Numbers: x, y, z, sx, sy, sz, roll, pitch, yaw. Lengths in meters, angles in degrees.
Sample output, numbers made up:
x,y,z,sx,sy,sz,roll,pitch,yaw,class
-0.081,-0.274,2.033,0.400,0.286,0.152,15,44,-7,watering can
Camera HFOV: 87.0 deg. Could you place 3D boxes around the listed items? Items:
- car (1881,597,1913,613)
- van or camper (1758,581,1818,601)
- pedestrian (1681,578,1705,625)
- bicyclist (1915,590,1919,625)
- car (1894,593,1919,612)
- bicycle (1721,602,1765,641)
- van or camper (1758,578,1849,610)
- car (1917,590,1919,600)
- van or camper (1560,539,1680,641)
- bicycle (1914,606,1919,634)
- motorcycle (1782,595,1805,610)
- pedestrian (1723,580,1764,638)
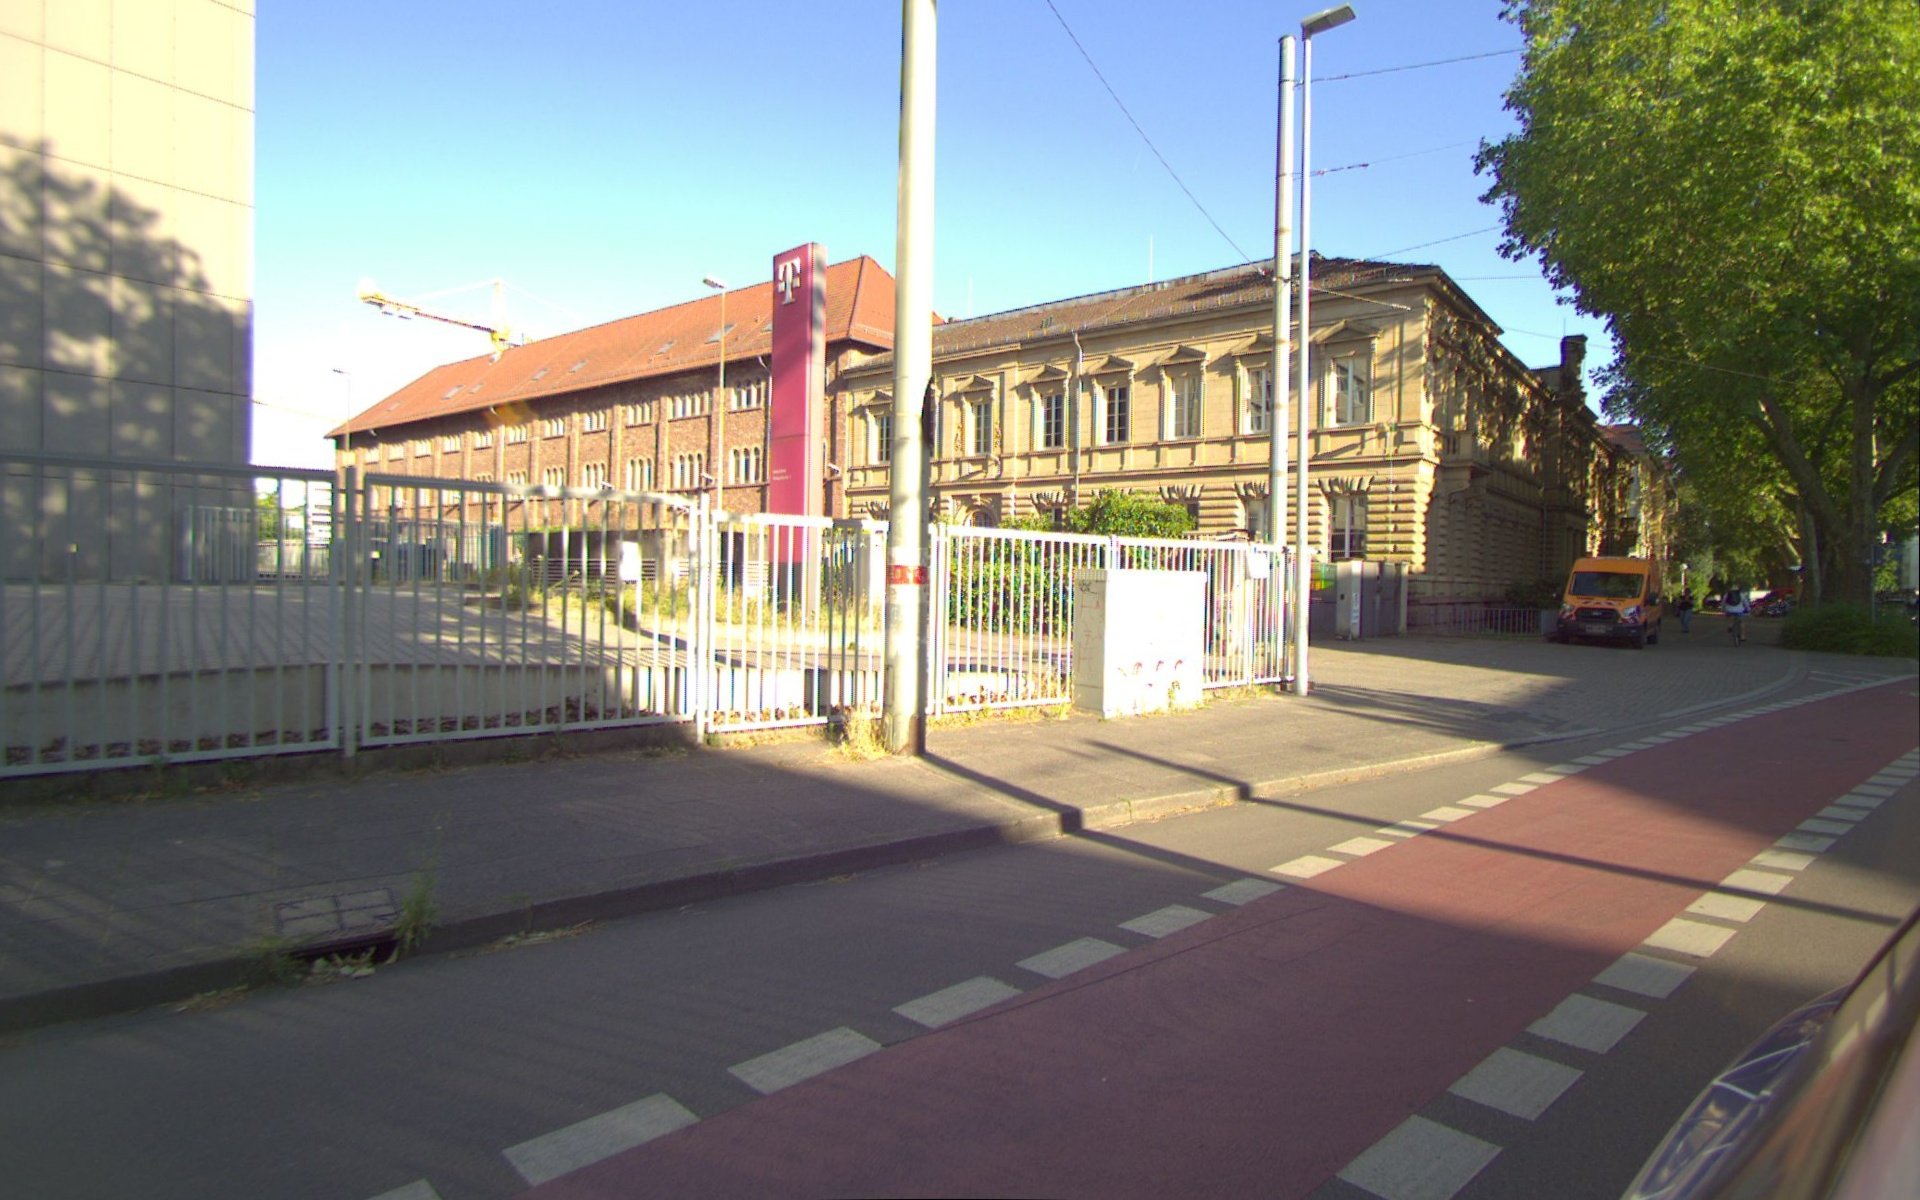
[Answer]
x,y,z,sx,sy,sz,roll,pitch,yaw,class
84.041,0.405,90.792,1.732,1.390,3.865,-1,0,38,car
109.286,-1.194,133.684,6.077,2.461,2.393,2,2,40,van or camper
27.919,0.056,38.546,0.650,1.757,0.993,2,1,40,pedestrian
40.476,0.314,42.270,0.712,1.461,0.940,2,1,39,bicyclist
74.540,0.193,79.284,1.732,1.390,3.865,-1,0,38,car
22.828,0.607,29.495,1.868,1.044,0.676,0,4,-43,bicycle
72.500,-0.572,87.122,5.901,2.527,2.192,2,4,38,van or camper
141.426,-0.749,147.910,1.799,1.563,3.867,-1,0,37,car
18.641,-0.302,28.454,2.034,2.591,5.687,2,2,41,van or camper
40.445,0.842,42.263,0.712,1.151,2.090,2,2,39,bicycle
59.335,0.166,72.021,1.248,1.067,0.395,1,1,3,motorcycle
22.798,0.249,29.430,1.083,1.638,0.671,0,3,-42,pedestrian
